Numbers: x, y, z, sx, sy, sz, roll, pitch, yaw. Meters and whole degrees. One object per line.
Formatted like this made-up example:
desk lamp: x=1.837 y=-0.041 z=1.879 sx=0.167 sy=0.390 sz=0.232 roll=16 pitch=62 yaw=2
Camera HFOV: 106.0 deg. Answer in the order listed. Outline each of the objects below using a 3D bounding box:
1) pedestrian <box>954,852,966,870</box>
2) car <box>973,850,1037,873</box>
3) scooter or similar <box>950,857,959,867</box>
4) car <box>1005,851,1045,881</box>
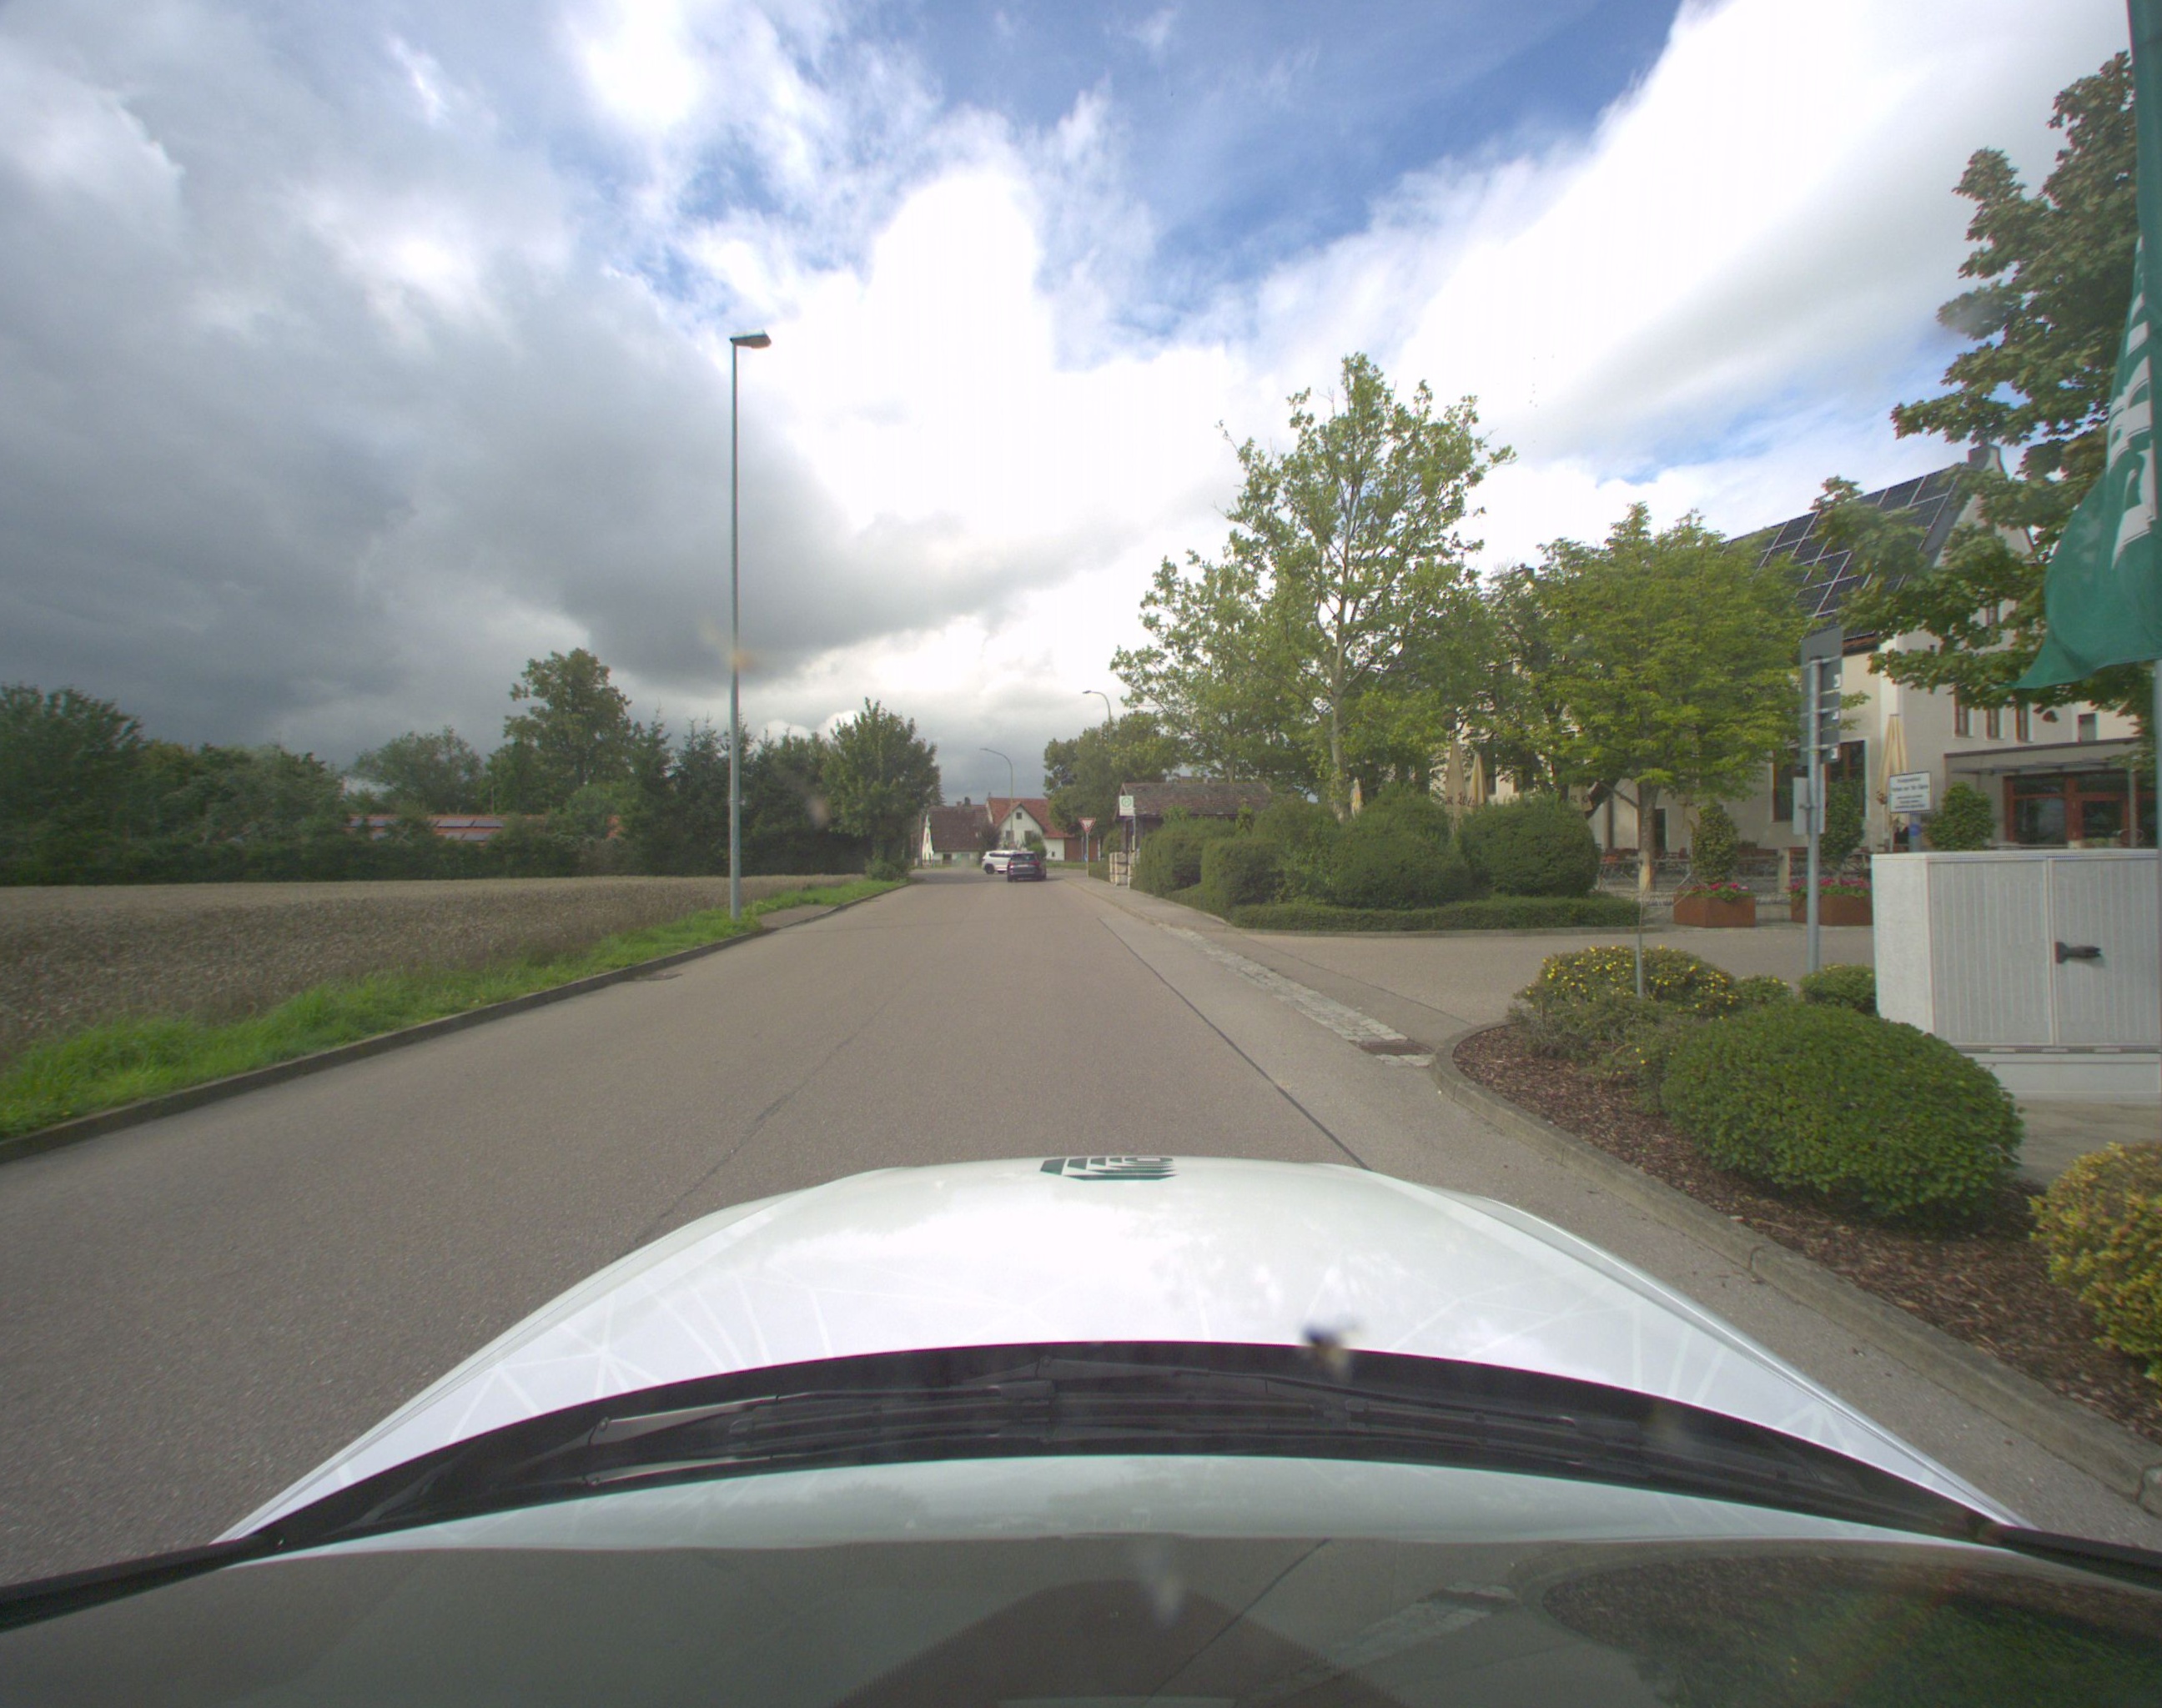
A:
pedestrian: x=-11.816 y=0.667 z=79.476 sx=0.794 sy=1.665 sz=0.704 roll=5 pitch=-3 yaw=-37
car: x=-5.142 y=0.514 z=55.054 sx=3.941 sy=1.515 sz=1.814 roll=0 pitch=0 yaw=23
scooter or similar: x=-12.449 y=0.739 z=79.923 sx=0.635 sy=0.948 sz=0.615 roll=5 pitch=-3 yaw=-37
car: x=-2.914 y=0.616 z=43.121 sx=1.793 sy=1.462 sz=3.662 roll=-1 pitch=0 yaw=0
